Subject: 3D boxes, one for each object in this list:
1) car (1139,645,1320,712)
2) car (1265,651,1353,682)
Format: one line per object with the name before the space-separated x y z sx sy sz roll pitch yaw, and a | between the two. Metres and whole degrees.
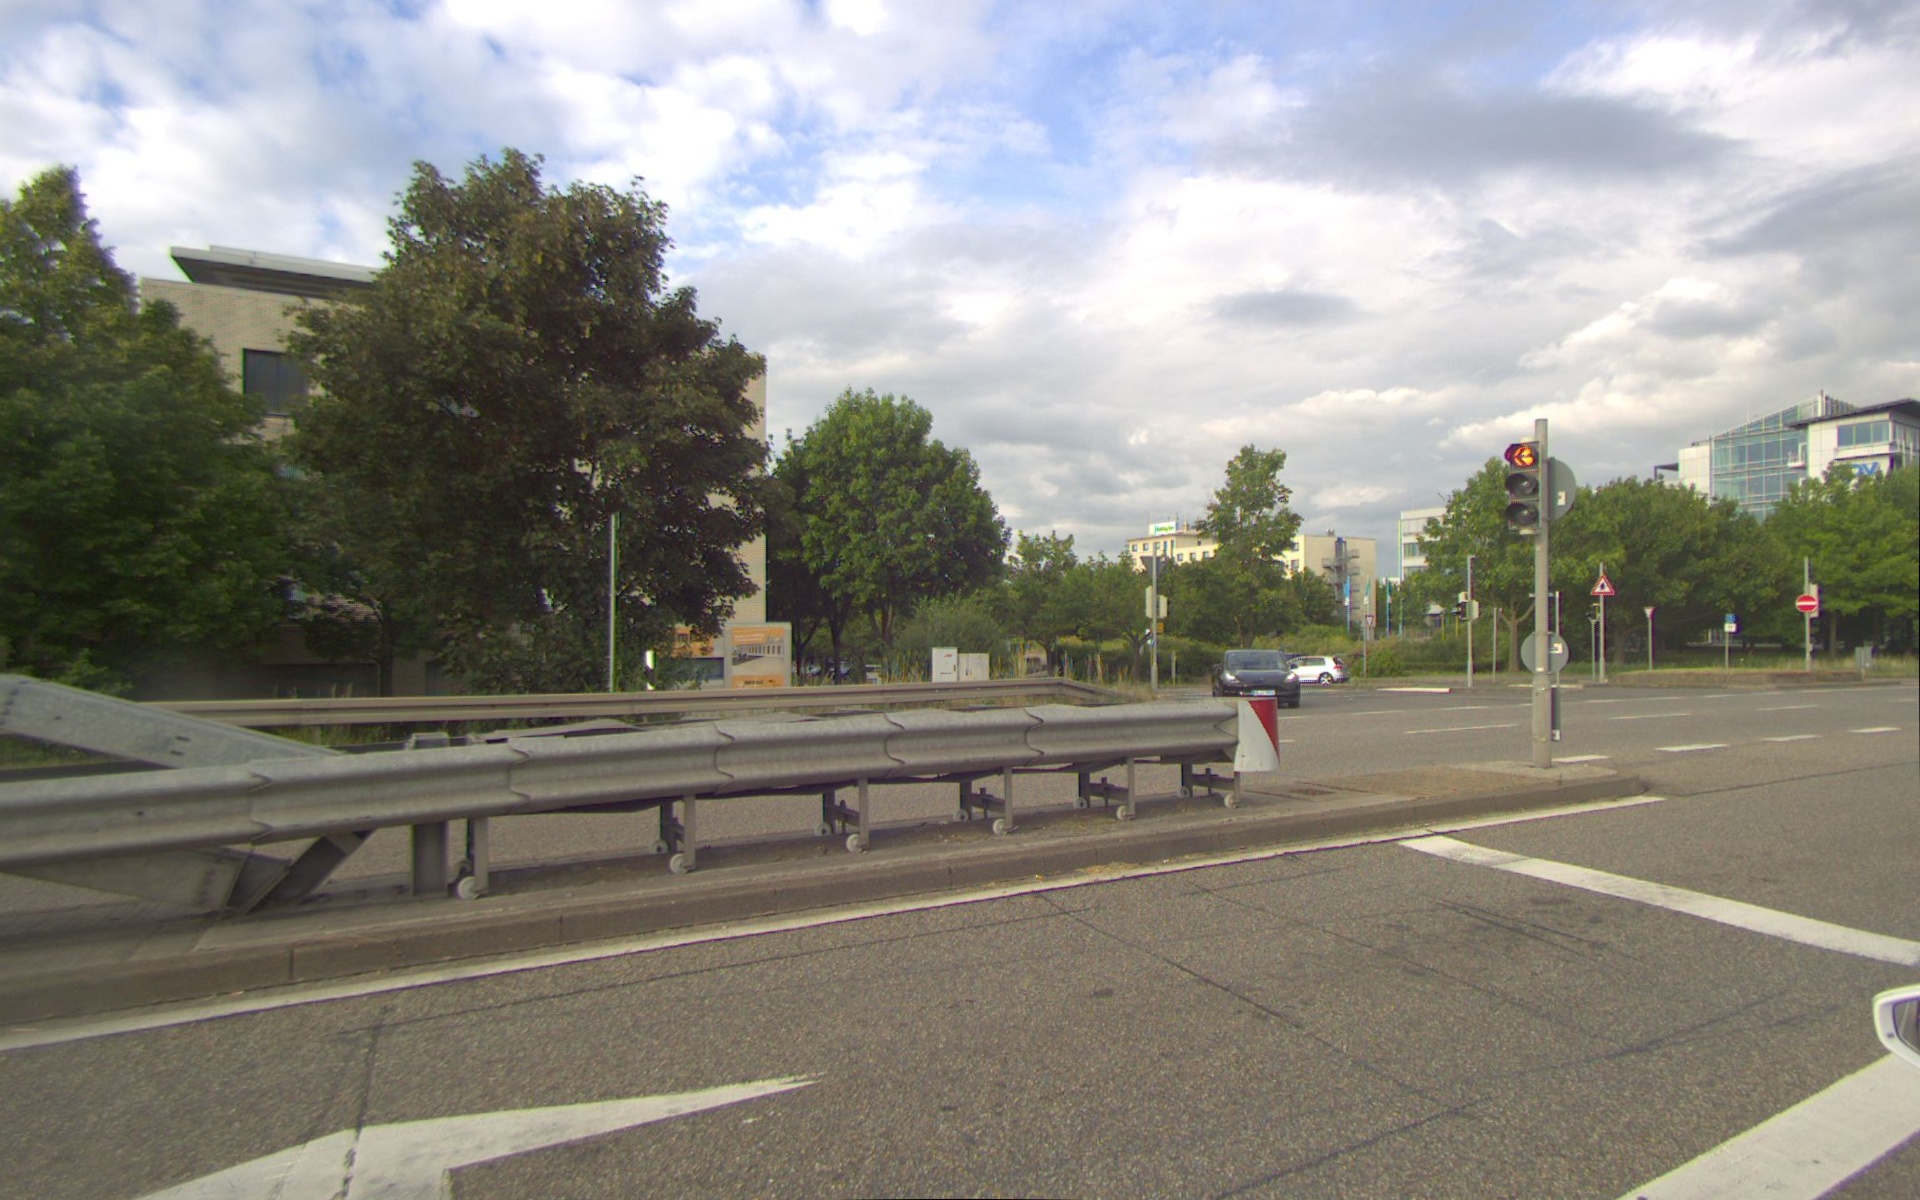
car | 6.527 1.947 24.845 1.897 1.475 4.346 2 -5 -27
car | 16.635 3.183 47.937 3.688 1.359 1.582 -4 -5 33
